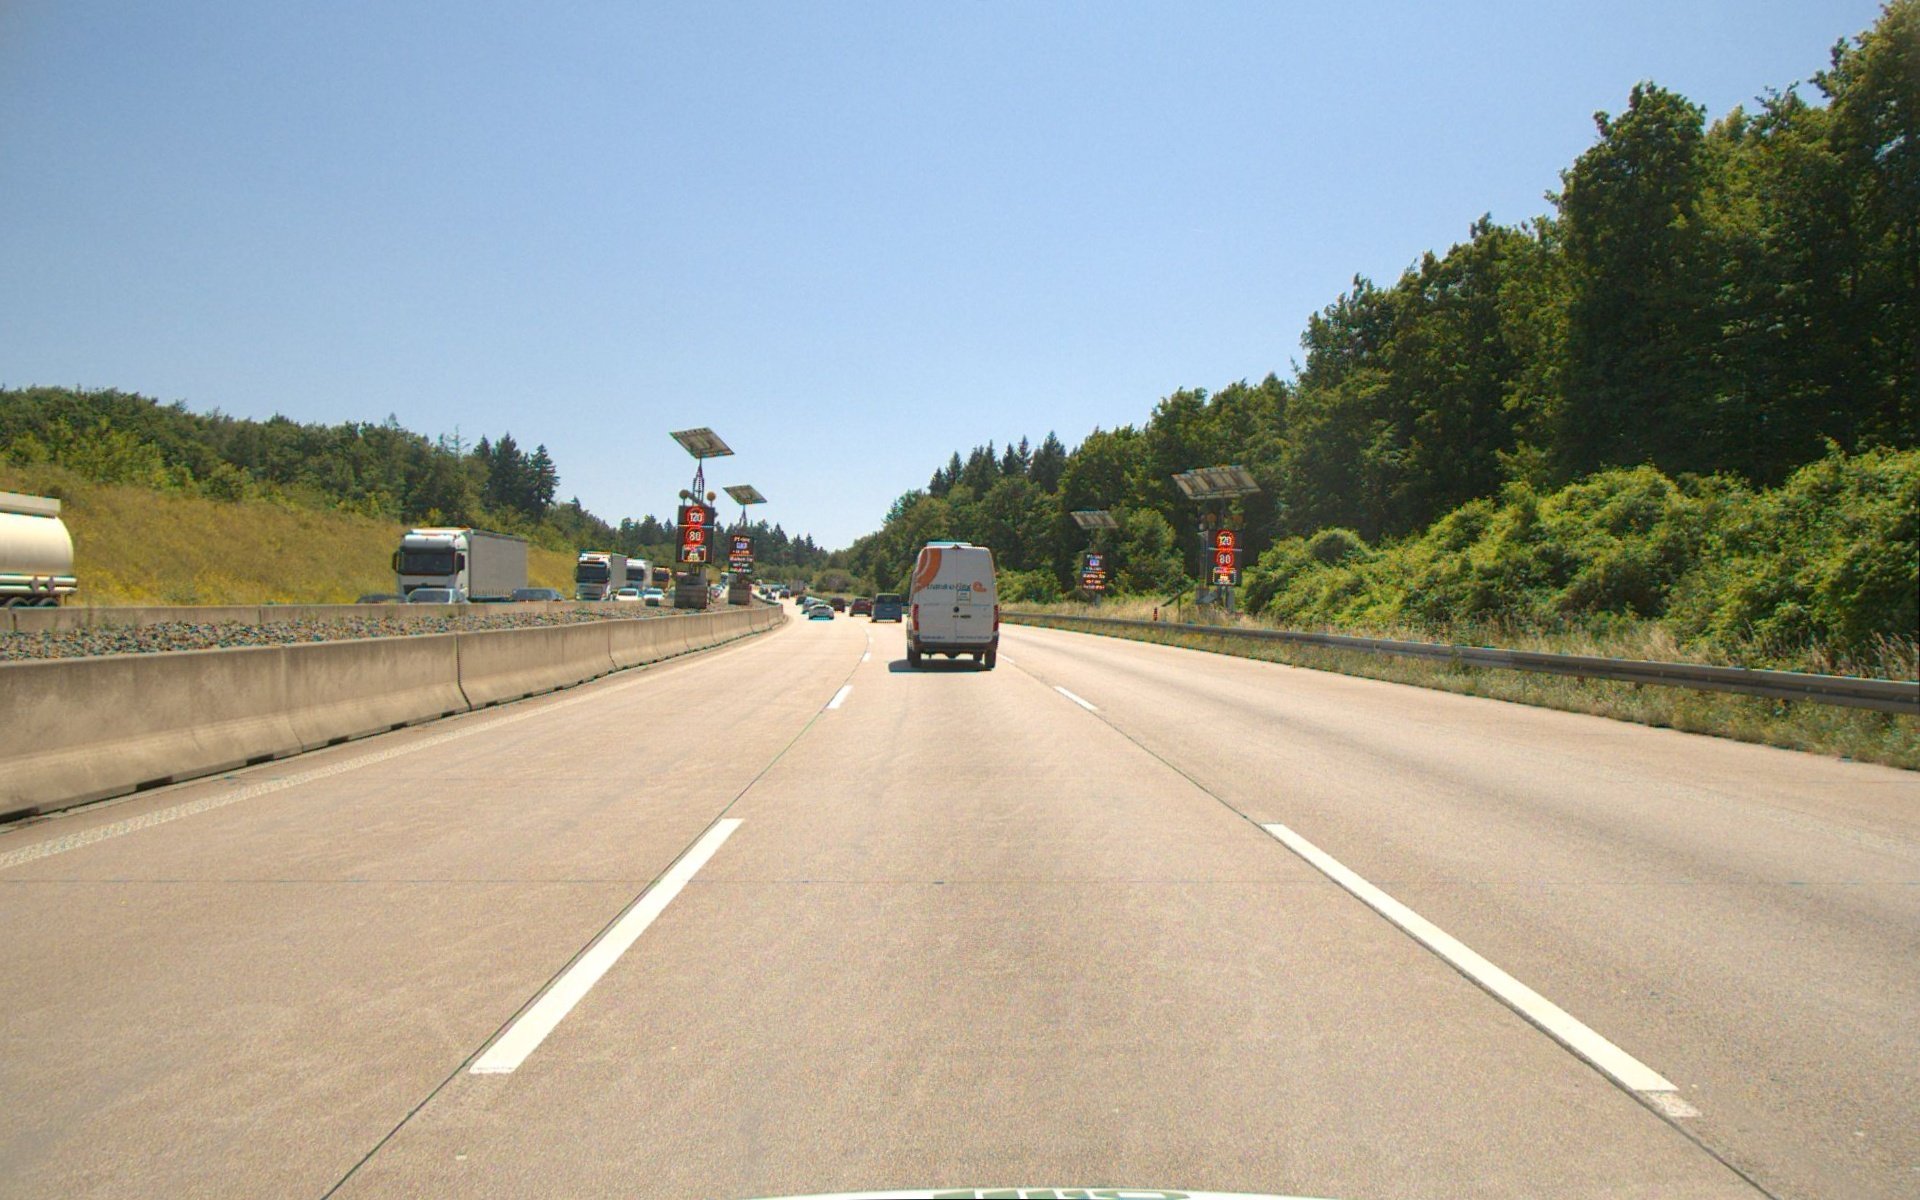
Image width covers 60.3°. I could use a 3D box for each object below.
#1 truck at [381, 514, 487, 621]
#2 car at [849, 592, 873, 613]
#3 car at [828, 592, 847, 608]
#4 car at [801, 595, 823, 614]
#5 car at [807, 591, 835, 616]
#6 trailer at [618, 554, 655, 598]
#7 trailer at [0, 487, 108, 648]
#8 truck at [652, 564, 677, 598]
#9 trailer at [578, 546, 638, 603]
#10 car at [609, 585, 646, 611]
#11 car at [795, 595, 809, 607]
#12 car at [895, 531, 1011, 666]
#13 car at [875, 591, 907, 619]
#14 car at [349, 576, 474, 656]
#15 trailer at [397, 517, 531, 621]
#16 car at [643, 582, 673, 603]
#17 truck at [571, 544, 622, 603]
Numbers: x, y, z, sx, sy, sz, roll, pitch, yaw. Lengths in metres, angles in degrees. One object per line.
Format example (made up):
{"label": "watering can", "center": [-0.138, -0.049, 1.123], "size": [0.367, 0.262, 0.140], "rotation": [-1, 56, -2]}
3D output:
{"label": "truck", "center": [-22.204, -1.313, 70.106], "size": [2.876, 4.241, 5.754], "rotation": [3, 0, -5]}
{"label": "car", "center": [-8.653, 0.245, 143.903], "size": [1.954, 1.713, 3.997], "rotation": [3, 0, -4]}
{"label": "car", "center": [-13.321, 0.014, 180.534], "size": [1.954, 1.713, 3.997], "rotation": [3, 0, -4]}
{"label": "car", "center": [-14.218, 0.439, 159.378], "size": [1.954, 1.713, 3.997], "rotation": [3, 0, -4]}
{"label": "car", "center": [-10.139, 0.277, 120.963], "size": [1.954, 1.713, 3.997], "rotation": [3, 0, -4]}
{"label": "trailer", "center": [-32.775, -2.408, 167.745], "size": [2.877, 4.241, 6.881], "rotation": [3, 0, -7]}
{"label": "trailer", "center": [-20.930, -0.735, 32.147], "size": [2.875, 3.271, 11.826], "rotation": [3, 0, -2]}
{"label": "truck", "center": [-41.951, -2.670, 234.856], "size": [2.858, 4.592, 11.241], "rotation": [0, 0, -7]}
{"label": "trailer", "center": [-28.619, -1.986, 134.961], "size": [2.876, 4.241, 14.372], "rotation": [3, 0, -5]}
{"label": "car", "center": [-22.668, -0.134, 112.757], "size": [1.954, 1.713, 3.997], "rotation": [0, 0, -4]}
{"label": "car", "center": [-24.822, 0.142, 259.886], "size": [1.954, 1.713, 3.997], "rotation": [3, 0, -4]}
{"label": "car", "center": [-0.251, -0.075, 38.459], "size": [2.183, 2.894, 5.448], "rotation": [1, 1, -6]}
{"label": "car", "center": [-4.576, 0.313, 109.676], "size": [1.954, 1.713, 3.997], "rotation": [3, 0, -4]}
{"label": "car", "center": [-13.942, 0.389, 42.266], "size": [1.953, 1.937, 4.037], "rotation": [0, 0, -2]}
{"label": "trailer", "center": [-22.781, -1.294, 76.952], "size": [2.876, 4.241, 14.373], "rotation": [3, 0, -5]}
{"label": "car", "center": [-25.150, -0.590, 137.774], "size": [1.954, 1.713, 3.997], "rotation": [0, 0, -4]}
{"label": "truck", "center": [-27.922, -1.995, 127.141], "size": [2.876, 4.241, 6.222], "rotation": [3, 0, -5]}
